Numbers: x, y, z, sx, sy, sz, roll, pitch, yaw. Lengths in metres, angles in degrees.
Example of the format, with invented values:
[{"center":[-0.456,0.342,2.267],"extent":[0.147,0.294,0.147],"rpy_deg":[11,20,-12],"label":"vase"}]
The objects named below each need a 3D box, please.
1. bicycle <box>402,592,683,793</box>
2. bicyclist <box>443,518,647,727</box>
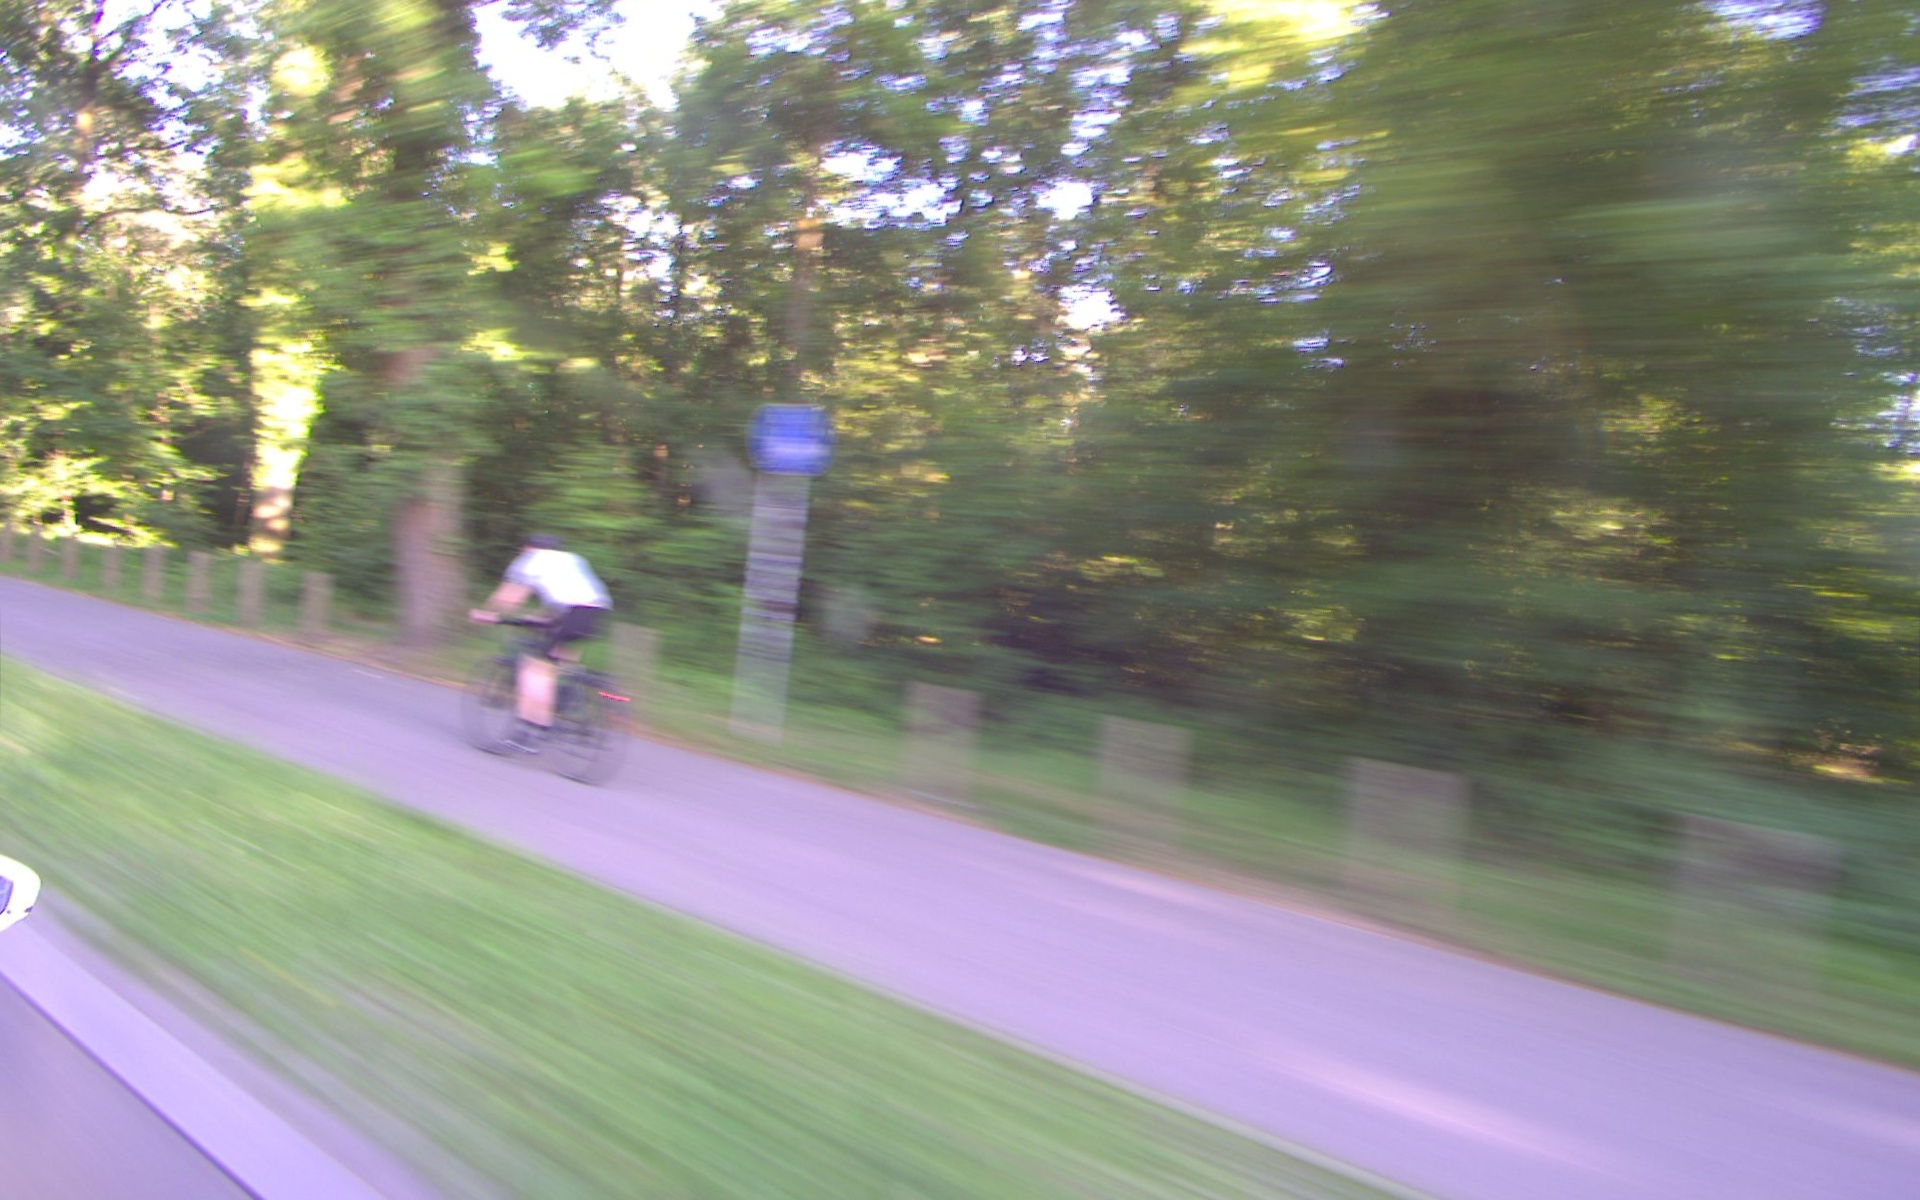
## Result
[{"center":[-2.989,0.605,7.119],"extent":[2.019,1.068,0.713],"rpy_deg":[7,-1,32],"label":"bicycle"},{"center":[-2.936,0.154,7.124],"extent":[1.086,1.304,0.713],"rpy_deg":[7,0,32],"label":"bicyclist"}]
